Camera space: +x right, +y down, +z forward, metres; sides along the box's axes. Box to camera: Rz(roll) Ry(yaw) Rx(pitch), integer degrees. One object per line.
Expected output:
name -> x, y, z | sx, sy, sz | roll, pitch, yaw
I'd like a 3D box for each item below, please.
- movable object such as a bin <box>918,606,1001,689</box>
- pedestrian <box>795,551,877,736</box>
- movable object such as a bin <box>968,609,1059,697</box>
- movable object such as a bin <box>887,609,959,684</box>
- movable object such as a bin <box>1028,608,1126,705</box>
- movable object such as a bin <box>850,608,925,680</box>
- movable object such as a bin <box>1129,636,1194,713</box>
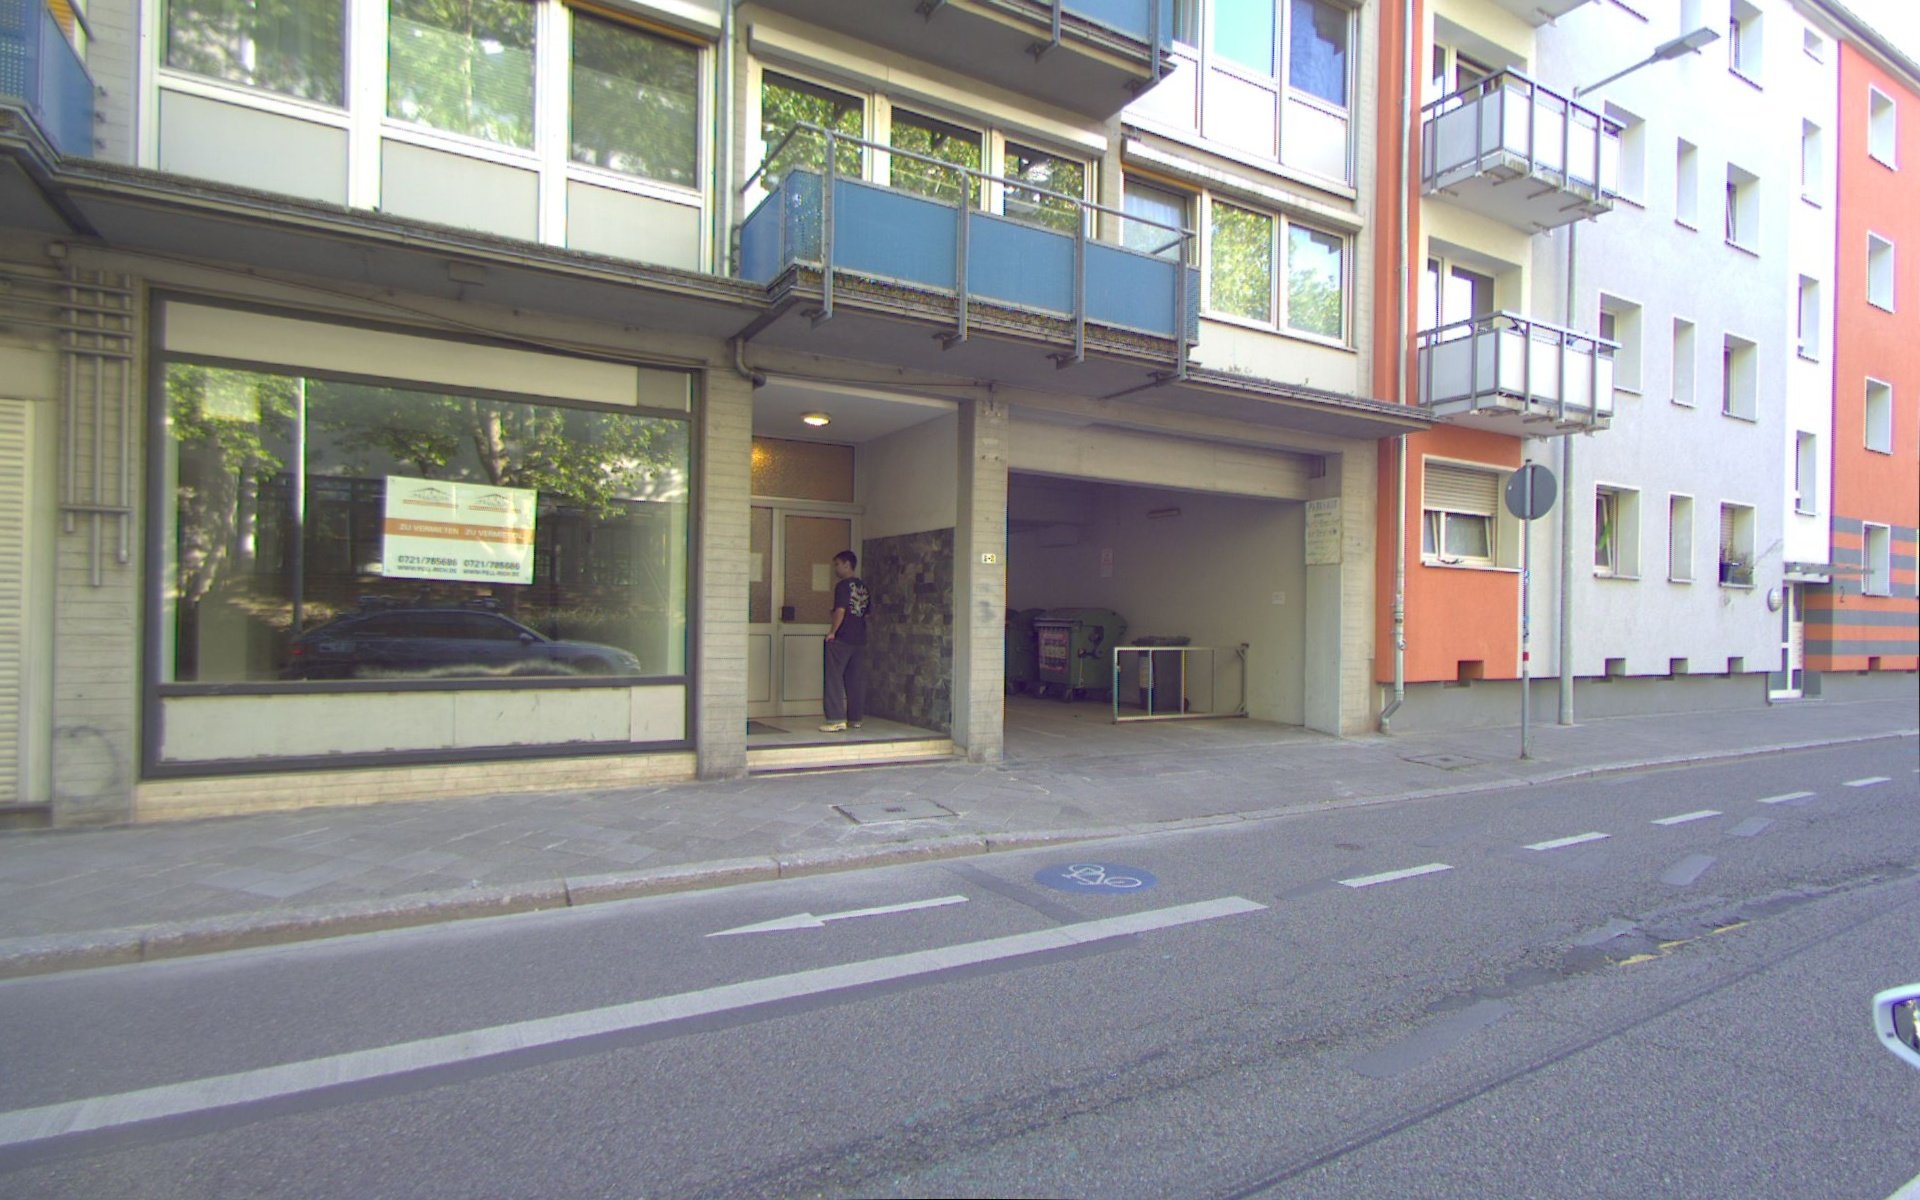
movable object such as a bin -> -0.026, 0.853, 18.664 | 1.011, 1.462, 1.318 | 1, 0, -29
pedestrian -> -1.223, 0.417, 9.977 | 0.518, 1.764, 0.630 | 1, 0, 27
movable object such as a bin -> 0.897, 0.876, 17.163 | 1.011, 1.409, 1.319 | 1, 0, -27
movable object such as a bin -> -0.732, 0.892, 19.681 | 1.012, 1.409, 1.046 | 1, 0, -31
movable object such as a bin -> 1.828, 0.861, 15.839 | 1.009, 1.438, 1.321 | 1, 0, -23
movable object such as a bin -> -1.492, 0.874, 20.656 | 1.014, 1.409, 1.264 | 1, 0, -37
movable object such as a bin -> 2.896, 1.060, 14.437 | 0.704, 1.054, 0.583 | 1, 0, -30
